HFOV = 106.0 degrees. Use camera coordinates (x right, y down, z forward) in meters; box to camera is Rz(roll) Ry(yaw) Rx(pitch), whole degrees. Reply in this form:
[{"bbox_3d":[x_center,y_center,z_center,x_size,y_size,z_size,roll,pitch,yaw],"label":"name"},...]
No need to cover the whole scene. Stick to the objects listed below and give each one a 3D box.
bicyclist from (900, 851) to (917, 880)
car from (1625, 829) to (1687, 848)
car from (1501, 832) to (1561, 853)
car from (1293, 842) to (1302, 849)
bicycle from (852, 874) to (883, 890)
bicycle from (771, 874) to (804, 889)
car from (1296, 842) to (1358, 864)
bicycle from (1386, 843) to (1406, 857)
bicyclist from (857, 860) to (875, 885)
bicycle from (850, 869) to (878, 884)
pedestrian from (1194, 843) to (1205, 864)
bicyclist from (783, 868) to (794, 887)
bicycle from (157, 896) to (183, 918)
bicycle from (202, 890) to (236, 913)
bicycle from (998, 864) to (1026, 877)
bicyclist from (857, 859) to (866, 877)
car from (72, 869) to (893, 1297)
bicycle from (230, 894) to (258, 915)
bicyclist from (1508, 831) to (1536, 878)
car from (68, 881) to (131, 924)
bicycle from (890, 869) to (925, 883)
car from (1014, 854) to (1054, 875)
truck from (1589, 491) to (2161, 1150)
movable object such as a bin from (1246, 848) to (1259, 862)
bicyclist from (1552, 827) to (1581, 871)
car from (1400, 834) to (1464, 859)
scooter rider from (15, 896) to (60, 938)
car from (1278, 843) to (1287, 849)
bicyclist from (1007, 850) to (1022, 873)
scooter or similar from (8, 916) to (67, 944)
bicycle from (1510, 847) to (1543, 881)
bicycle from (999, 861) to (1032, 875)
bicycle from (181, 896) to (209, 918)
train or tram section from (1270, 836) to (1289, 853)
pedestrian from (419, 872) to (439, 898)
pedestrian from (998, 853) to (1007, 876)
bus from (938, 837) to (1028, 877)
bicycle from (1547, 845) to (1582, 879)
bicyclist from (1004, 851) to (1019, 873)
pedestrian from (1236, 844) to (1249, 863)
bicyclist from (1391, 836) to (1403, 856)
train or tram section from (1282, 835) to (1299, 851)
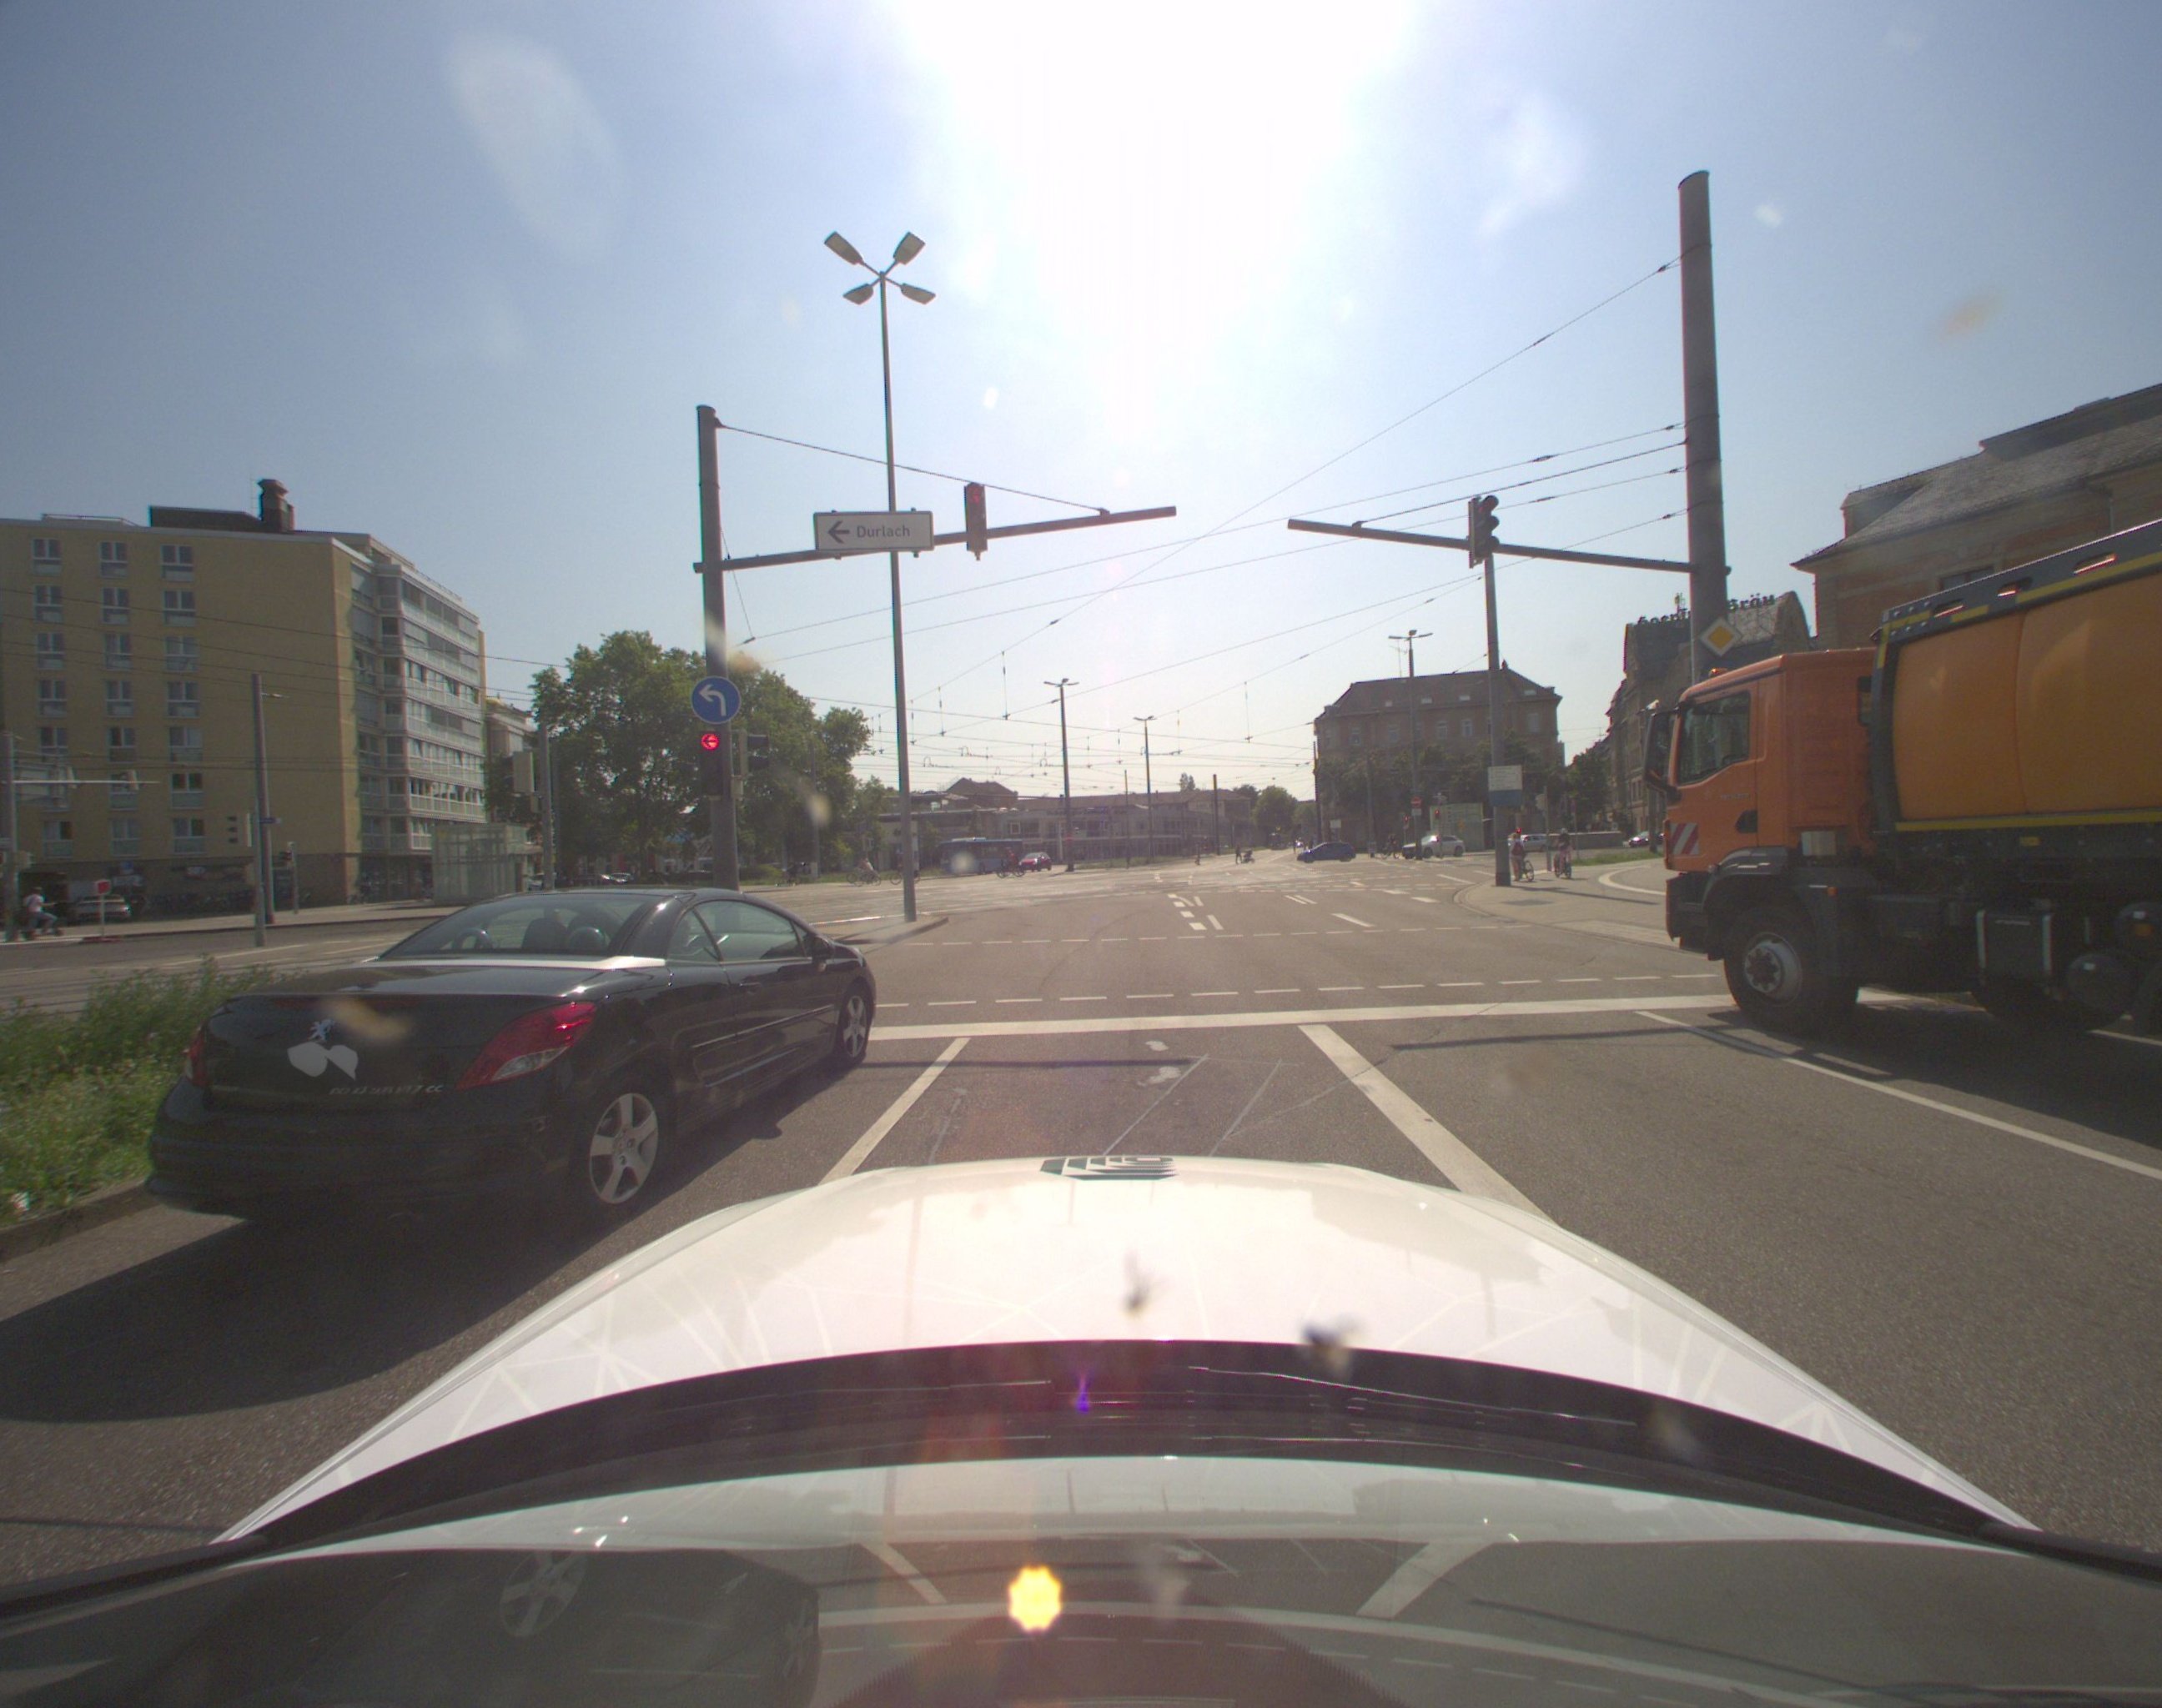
[{"bbox_3d":[-10.813,0.719,51.017,0.924,1.807,0.496,-2,0,-11],"label":"bicyclist"},{"bbox_3d":[48.785,-1.336,69.096,4.766,1.415,1.765,-2,0,-18],"label":"car"},{"bbox_3d":[34.064,-0.875,61.690,4.194,1.415,1.762,-2,0,-24],"label":"car"},{"bbox_3d":[55.998,-2.155,210.458,1.804,1.809,4.020,-1,-1,20],"label":"car"},{"bbox_3d":[-13.671,1.767,52.080,1.811,0.942,0.567,-2,0,-5],"label":"bicycle"},{"bbox_3d":[-20.109,1.896,55.888,2.033,0.942,0.466,-2,0,-11],"label":"bicycle"},{"bbox_3d":[17.423,-0.088,57.732,3.966,1.394,1.599,-2,0,6],"label":"car"},{"bbox_3d":[24.436,-0.275,63.239,0.470,1.055,1.643,-2,0,-18],"label":"bicycle"},{"bbox_3d":[-13.753,1.168,52.083,0.908,1.508,0.558,-2,0,-4],"label":"bicyclist"},{"bbox_3d":[-15.311,1.569,57.509,1.814,0.942,0.414,-2,0,-11],"label":"bicycle"},{"bbox_3d":[9.562,-0.049,65.642,0.699,1.603,0.572,-2,0,-6],"label":"pedestrian"},{"bbox_3d":[-20.059,1.600,55.851,0.544,1.293,0.557,-2,0,-10],"label":"bicyclist"},{"bbox_3d":[-52.708,3.074,47.099,2.754,1.204,0.699,-2,0,36],"label":"bicycle"},{"bbox_3d":[-50.521,2.779,47.705,3.220,1.204,0.916,-2,0,36],"label":"bicycle"},{"bbox_3d":[-4.730,1.118,55.882,1.860,0.802,0.604,-2,0,-17],"label":"bicycle"},{"bbox_3d":[-15.486,0.983,57.404,0.544,1.293,0.557,-2,0,-10],"label":"bicyclist"},{"bbox_3d":[-2.595,0.837,4.771,1.757,1.388,3.787,-1,0,6],"label":"car"},{"bbox_3d":[-49.329,2.970,47.982,3.220,1.204,0.699,-2,0,36],"label":"bicycle"},{"bbox_3d":[14.650,0.012,27.070,0.623,1.517,0.715,-2,0,14],"label":"bicyclist"},{"bbox_3d":[-48.329,2.352,40.165,3.949,1.925,1.815,-3,0,42],"label":"car"},{"bbox_3d":[-10.859,1.387,51.023,2.049,0.802,0.478,-2,0,-11],"label":"bicycle"},{"bbox_3d":[-3.803,0.867,66.961,1.735,1.552,4.020,-2,0,20],"label":"car"},{"bbox_3d":[6.476,-0.186,5.205,2.481,3.134,6.868,-2,0,4],"label":"truck"},{"bbox_3d":[13.976,0.078,66.386,0.812,1.077,0.510,-2,0,-9],"label":"movable object such as a bin"},{"bbox_3d":[15.931,-0.163,26.724,0.526,1.393,0.897,-2,0,14],"label":"bicyclist"},{"bbox_3d":[25.247,-0.559,58.508,4.343,1.618,1.740,-2,0,-25],"label":"car"},{"bbox_3d":[-35.710,2.154,27.873,0.685,1.353,0.608,-2,0,-3],"label":"scooter rider"},{"bbox_3d":[52.570,-2.001,212.569,1.782,1.508,4.022,-2,0,22],"label":"car"},{"bbox_3d":[-4.267,0.480,52.154,0.871,1.483,0.496,-2,0,-11],"label":"bicyclist"},{"bbox_3d":[-35.594,2.591,27.795,0.519,0.824,1.142,-2,0,-3],"label":"scooter or similar"},{"bbox_3d":[14.652,0.316,26.833,0.532,1.055,1.660,-2,0,14],"label":"bicycle"},{"bbox_3d":[-4.216,0.893,52.179,2.049,0.802,0.478,-2,0,-11],"label":"bicycle"},{"bbox_3d":[-51.674,3.054,47.464,3.220,1.204,0.699,-2,0,36],"label":"bicycle"},{"bbox_3d":[42.761,-2.121,175.172,2.566,3.516,10.955,-2,0,21],"label":"train or tram section"},{"bbox_3d":[-41.317,1.964,51.601,0.862,1.543,0.735,-2,0,-35],"label":"pedestrian"},{"bbox_3d":[-5.796,0.757,60.299,0.554,1.684,0.451,-2,0,-17],"label":"pedestrian"},{"bbox_3d":[-8.150,0.136,70.229,2.541,3.082,12.082,-2,0,19],"label":"bus"},{"bbox_3d":[16.067,0.256,27.085,0.532,1.055,1.660,-2,0,14],"label":"bicycle"},{"bbox_3d":[-4.776,0.535,55.876,0.873,1.475,0.543,-2,0,-16],"label":"bicyclist"},{"bbox_3d":[13.141,-0.040,66.295,0.849,1.545,0.527,-2,0,-6],"label":"pedestrian"},{"bbox_3d":[24.494,-0.637,63.063,0.614,1.528,0.517,-2,0,-22],"label":"bicyclist"},{"bbox_3d":[50.373,-2.653,195.495,2.566,3.516,13.040,-2,0,21],"label":"train or tram section"}]
